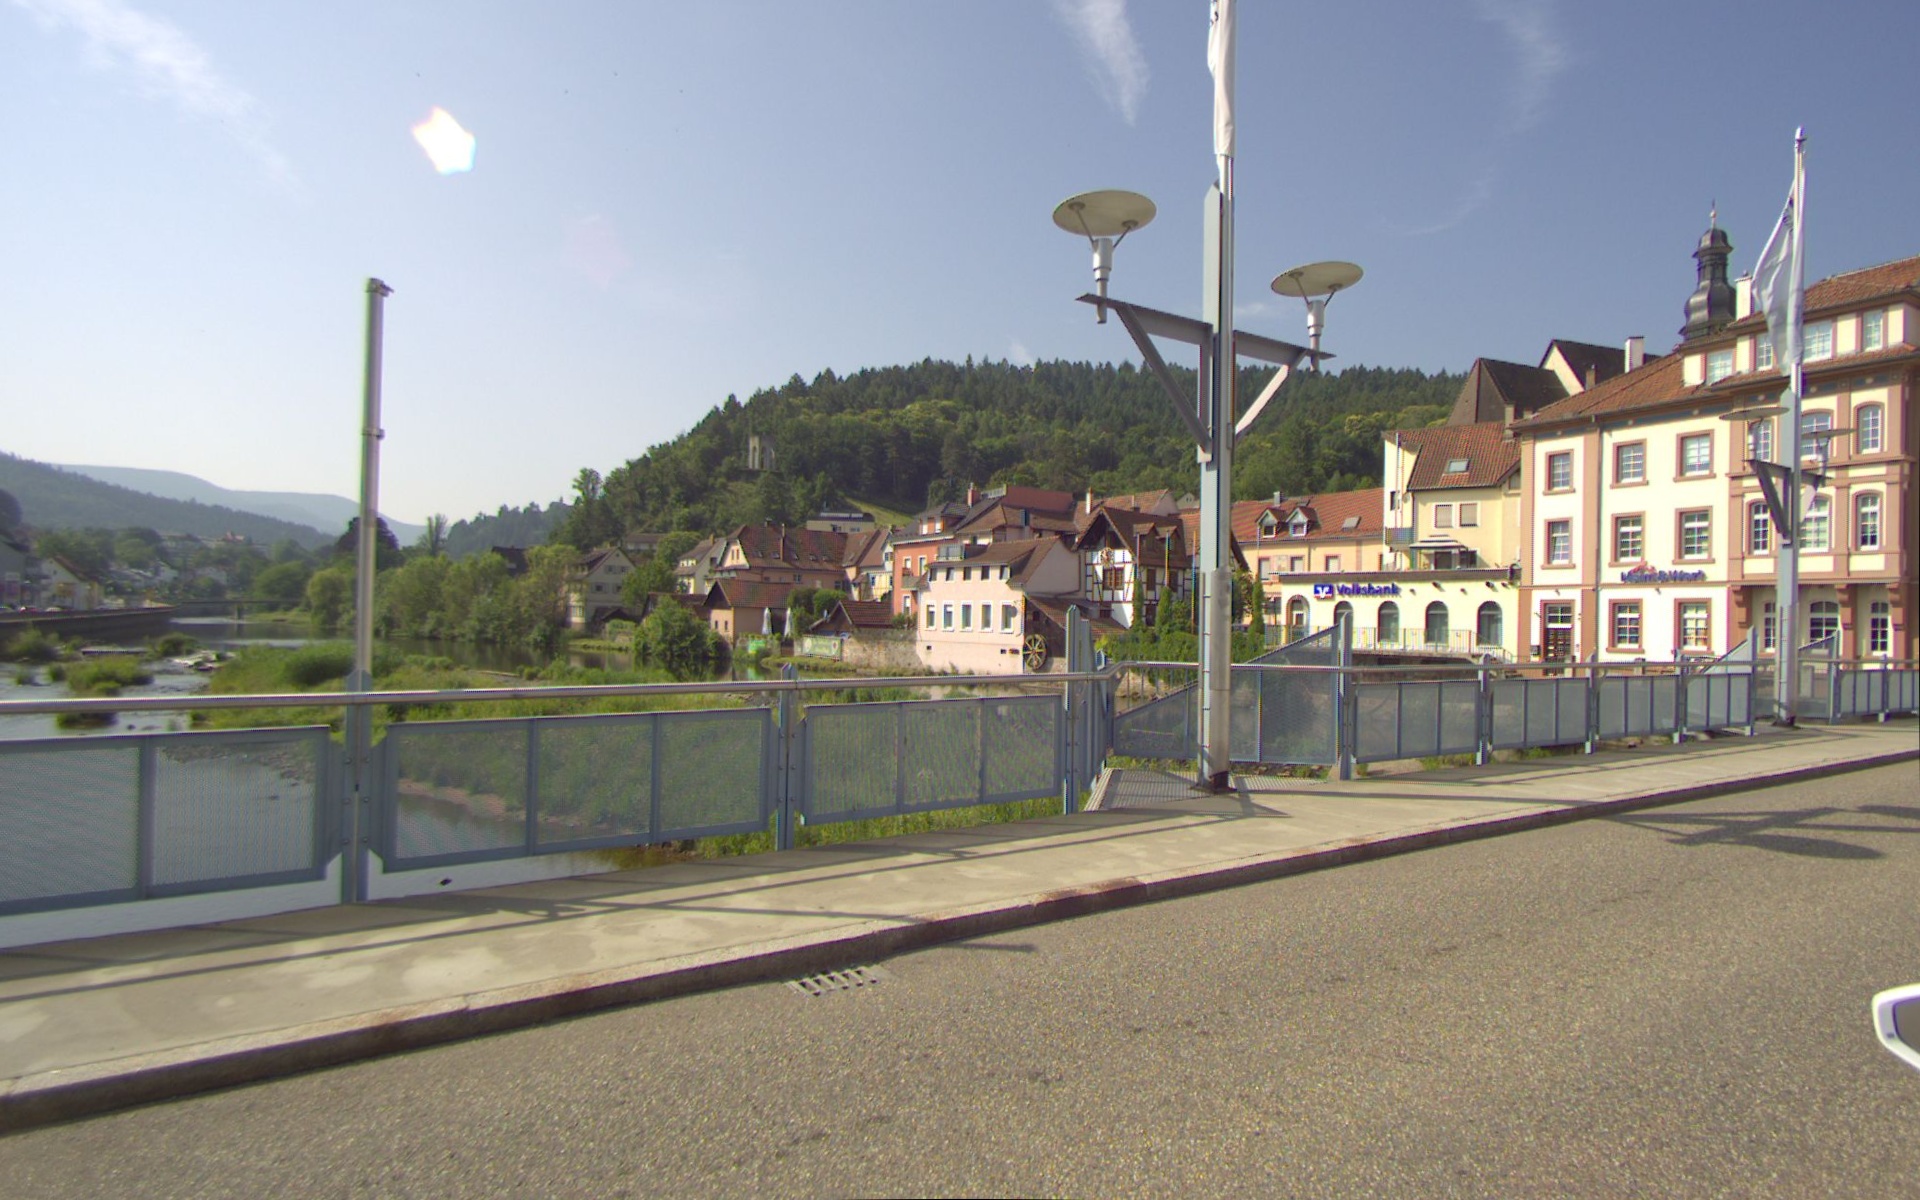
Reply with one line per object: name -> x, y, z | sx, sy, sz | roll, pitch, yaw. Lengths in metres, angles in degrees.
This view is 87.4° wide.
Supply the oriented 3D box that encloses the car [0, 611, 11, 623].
car -> -120.024, 2.140, 125.548 | 1.504, 1.467, 3.244 | 1, -1, -35
